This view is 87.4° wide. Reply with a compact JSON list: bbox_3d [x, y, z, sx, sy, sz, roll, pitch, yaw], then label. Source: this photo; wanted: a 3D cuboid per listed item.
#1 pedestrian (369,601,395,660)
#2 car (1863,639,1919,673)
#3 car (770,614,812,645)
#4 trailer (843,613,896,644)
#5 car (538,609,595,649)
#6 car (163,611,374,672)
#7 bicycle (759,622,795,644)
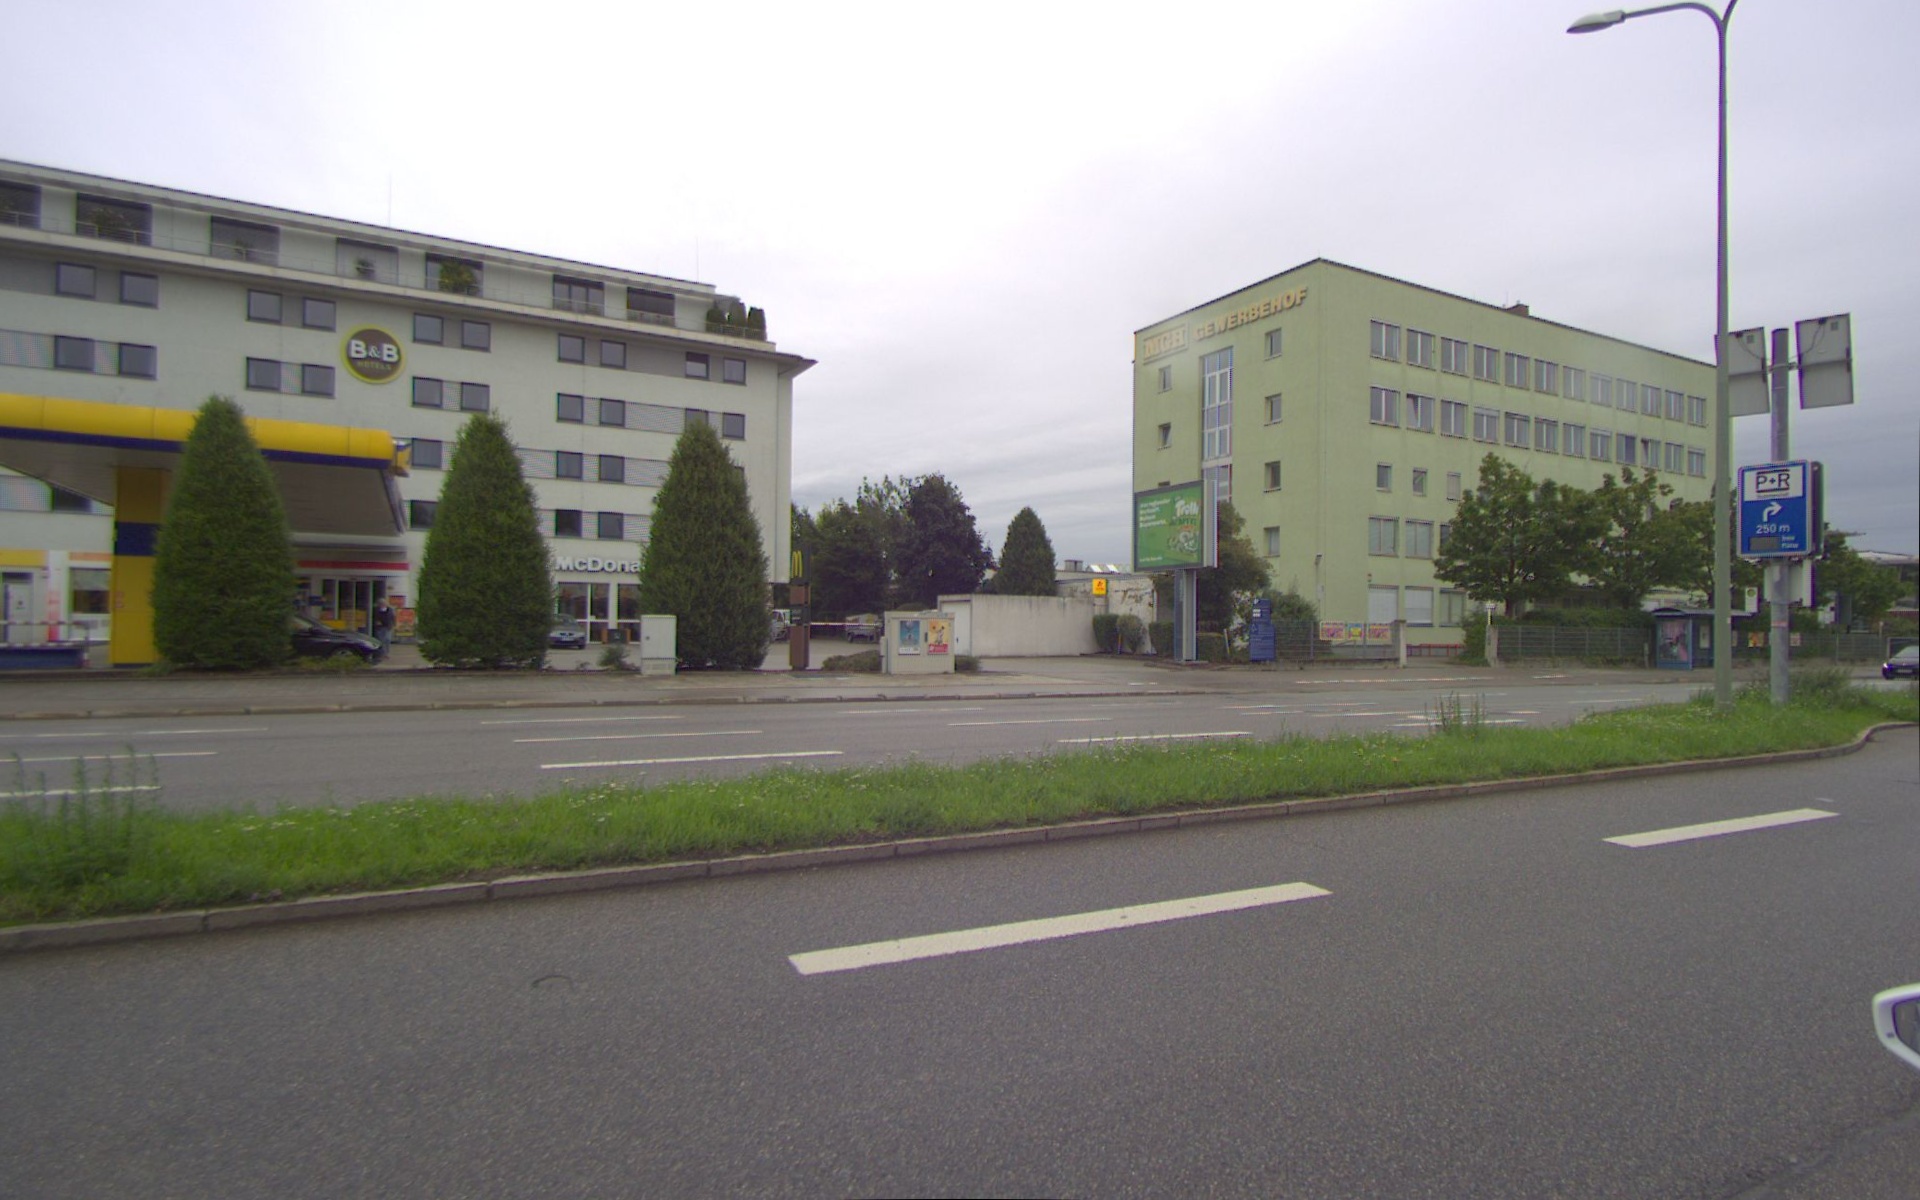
[{"bbox_3d":[-17.405,0.936,30.254,0.636,1.751,0.703,2,-3,-32],"label":"pedestrian"},{"bbox_3d":[41.190,2.397,43.336,4.600,1.419,1.984,2,-3,-30],"label":"car"},{"bbox_3d":[-11.244,2.003,66.764,1.699,1.968,3.975,1,-3,-26],"label":"car"},{"bbox_3d":[-5.171,1.657,57.047,1.616,1.671,3.781,1,-3,-29],"label":"trailer"},{"bbox_3d":[-16.917,1.242,43.096,1.686,1.608,3.969,2,-2,-30],"label":"car"},{"bbox_3d":[-16.319,0.997,23.976,3.953,1.349,1.786,2,-3,-30],"label":"car"},{"bbox_3d":[-9.567,1.729,52.528,1.859,1.131,0.444,2,-3,-38],"label":"bicycle"}]
